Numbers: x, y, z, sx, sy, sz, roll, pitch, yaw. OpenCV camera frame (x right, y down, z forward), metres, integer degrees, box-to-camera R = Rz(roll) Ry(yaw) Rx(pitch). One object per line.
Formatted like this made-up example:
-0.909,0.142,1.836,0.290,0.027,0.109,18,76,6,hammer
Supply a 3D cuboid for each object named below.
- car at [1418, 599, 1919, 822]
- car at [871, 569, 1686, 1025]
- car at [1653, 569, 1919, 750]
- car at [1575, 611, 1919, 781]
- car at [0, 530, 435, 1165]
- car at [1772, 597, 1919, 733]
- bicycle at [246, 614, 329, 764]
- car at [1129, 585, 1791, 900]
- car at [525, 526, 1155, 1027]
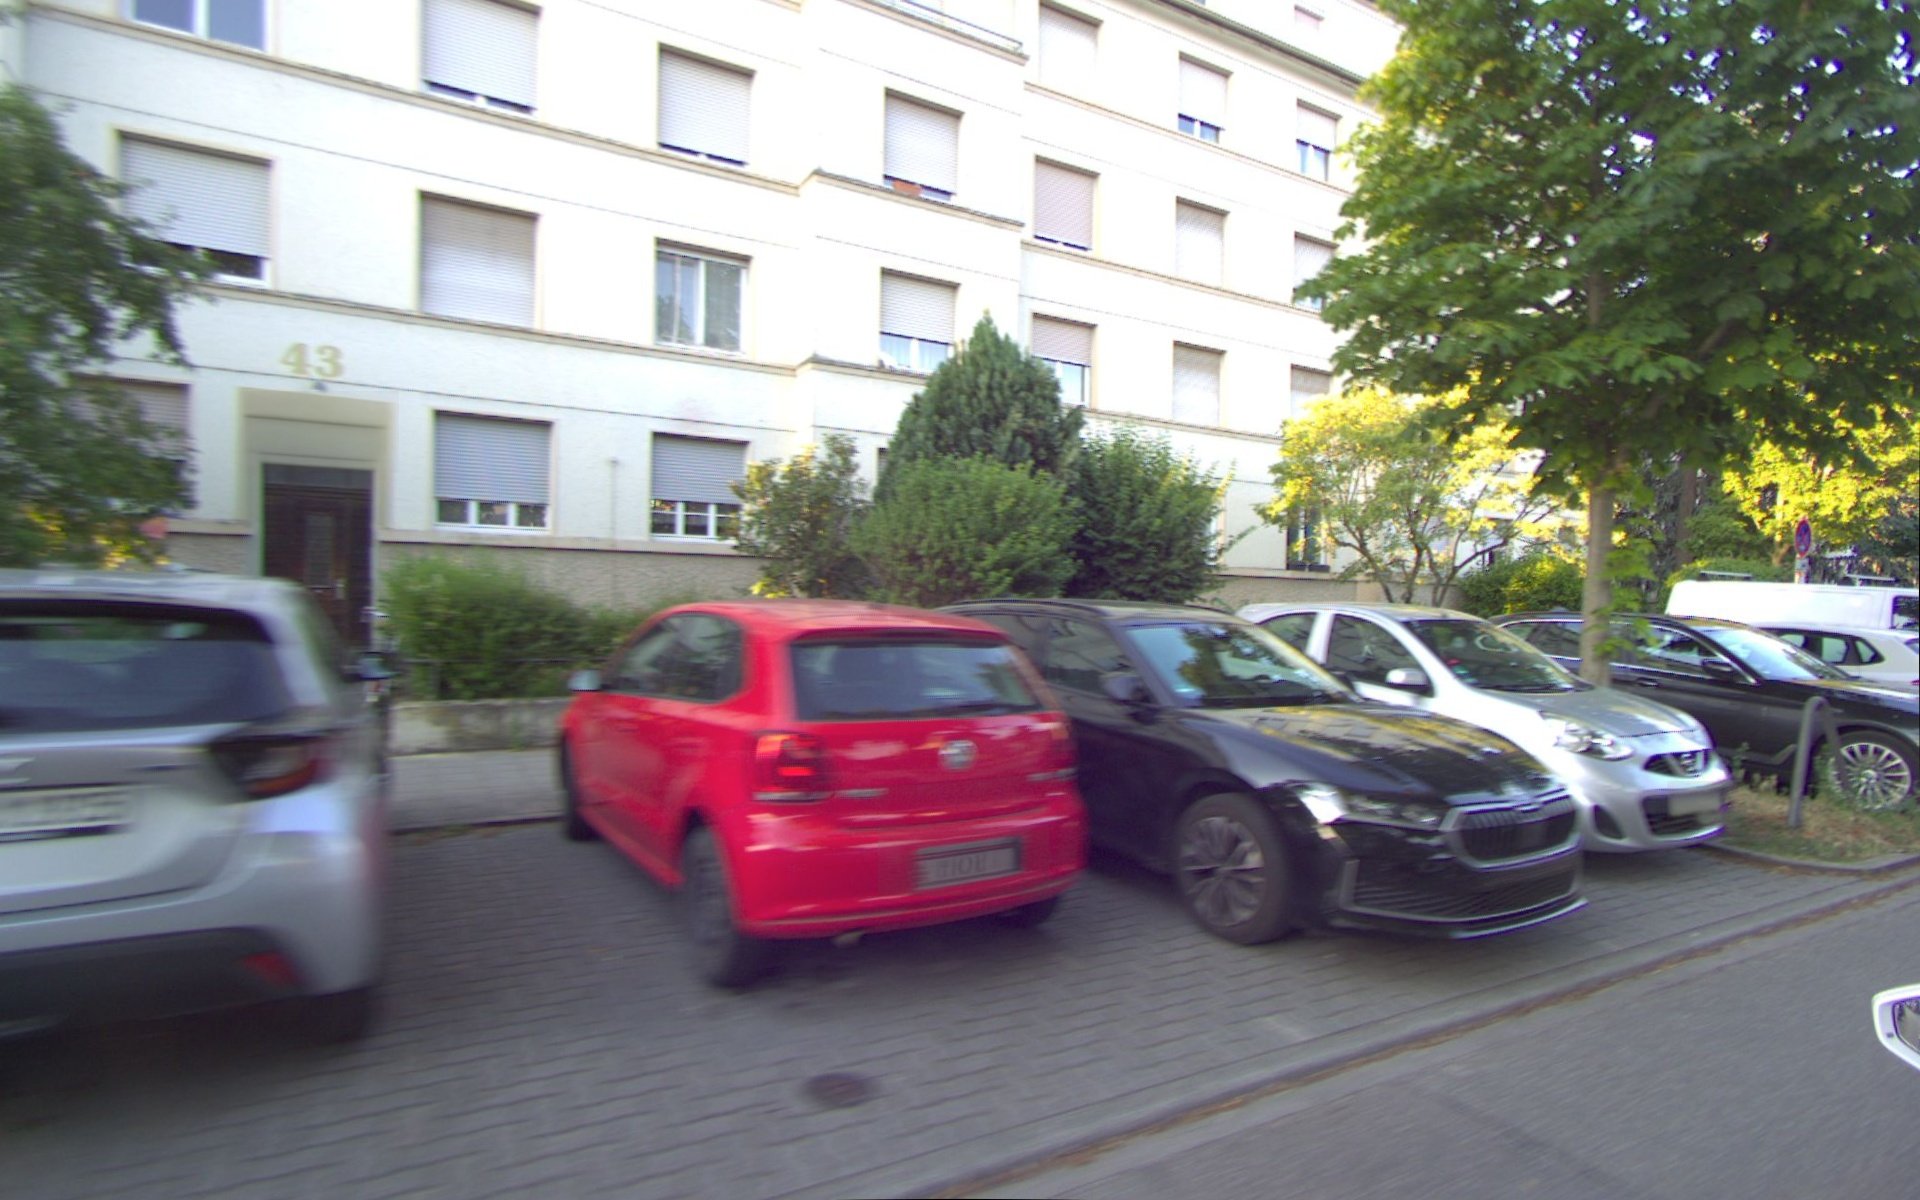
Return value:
7.035,0.851,9.415,1.859,1.490,4.748,2,1,-30,car
1.361,0.676,5.948,1.880,1.636,4.378,1,1,-34,car
11.496,0.679,12.130,1.977,2.041,4.747,1,1,-31,car
9.036,0.929,11.114,1.737,1.503,3.400,1,1,-28,car
-3.344,0.568,4.131,1.770,1.544,3.964,1,1,-33,car
13.714,0.897,13.509,1.780,1.776,3.964,1,1,-32,car
-5.526,0.671,8.227,0.465,1.064,1.565,0,1,-37,bicycle
3.272,0.722,7.337,1.782,1.599,3.962,1,1,-34,car
-1.006,0.538,5.345,1.713,1.604,3.962,1,1,-34,car
